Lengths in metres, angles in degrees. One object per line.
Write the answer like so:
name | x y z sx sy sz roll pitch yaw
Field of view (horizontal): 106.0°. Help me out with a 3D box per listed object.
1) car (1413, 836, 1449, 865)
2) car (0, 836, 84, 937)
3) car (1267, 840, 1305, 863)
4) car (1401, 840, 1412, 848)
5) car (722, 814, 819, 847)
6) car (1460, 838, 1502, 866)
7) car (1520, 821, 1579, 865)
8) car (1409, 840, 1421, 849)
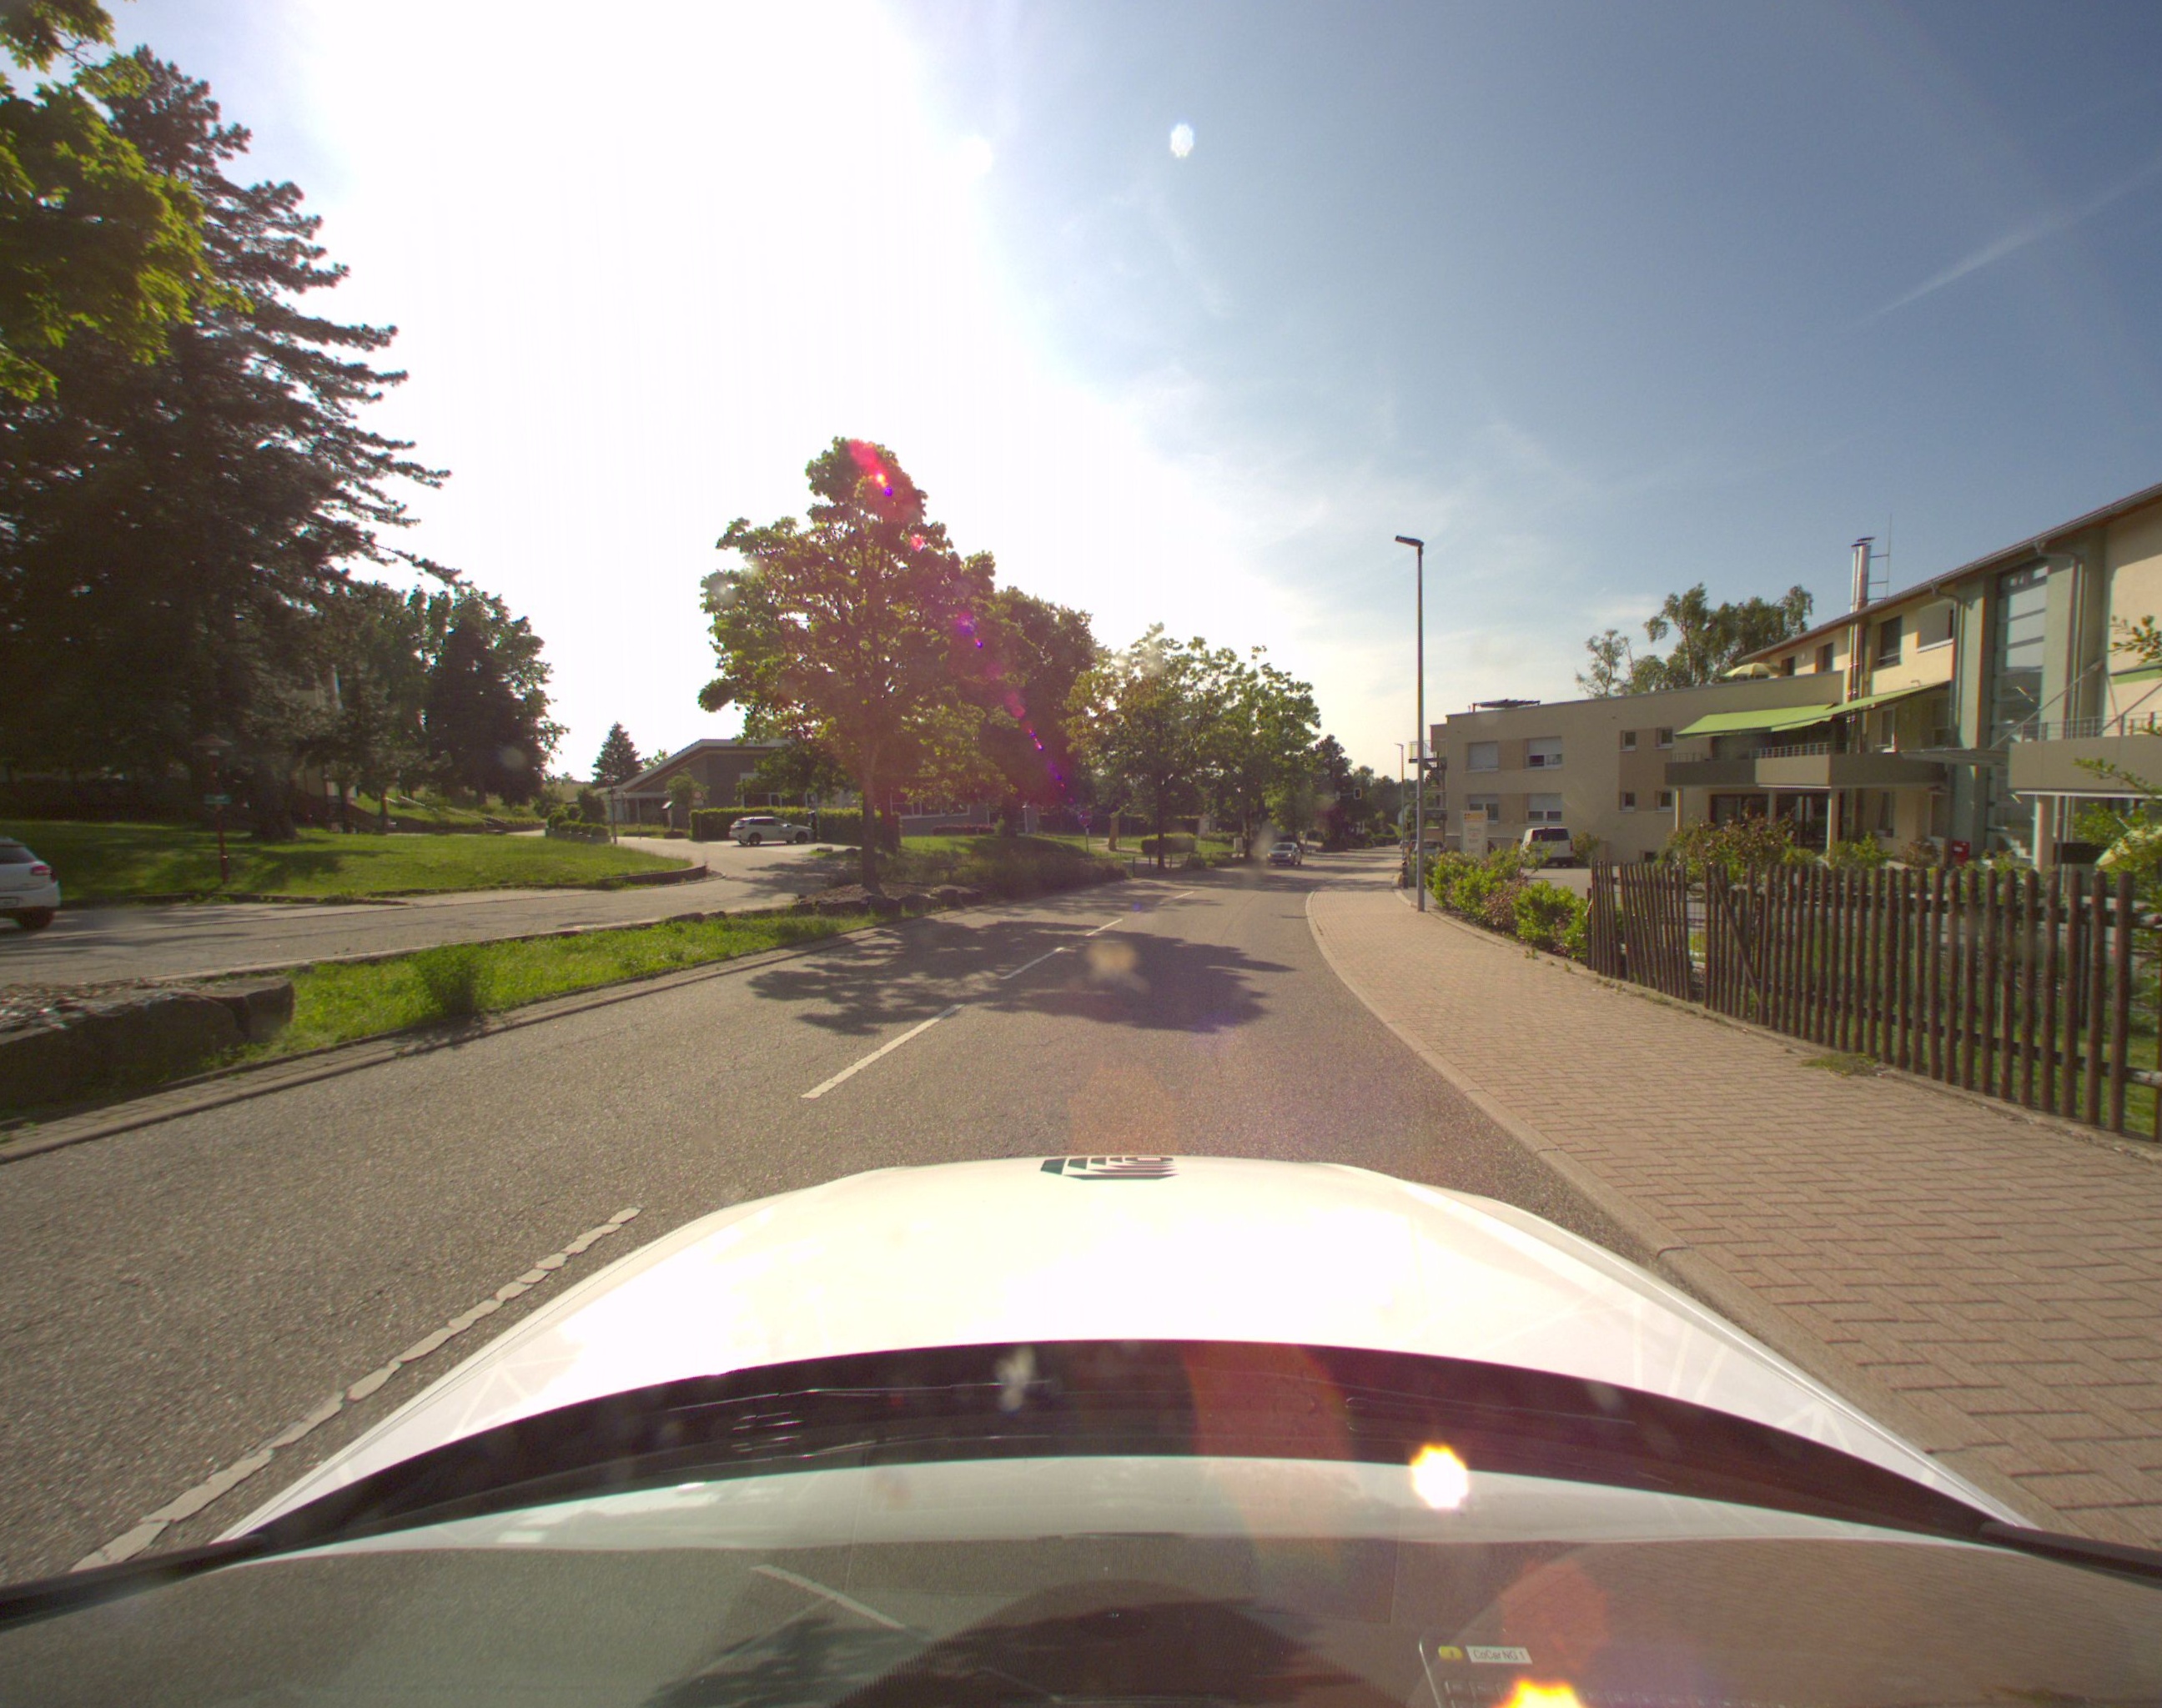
car | 19.198 -0.203 44.793 1.693 1.535 4.029 -1 1 22
car | -19.104 0.498 13.468 3.900 1.609 1.783 1 1 14
car | 13.427 -0.189 53.214 1.713 1.443 4.088 1 2 24
car | 63.017 -1.991 157.760 1.692 1.427 4.031 0 1 26
car | -17.611 -1.379 46.362 4.758 1.533 1.977 -5 8 -42
car | 21.085 -0.143 43.031 1.693 1.427 4.029 -1 1 22
car | 22.233 -0.528 38.815 1.788 1.935 4.760 -1 1 22
car | 50.925 -1.435 124.122 1.693 1.427 4.029 -1 1 22
